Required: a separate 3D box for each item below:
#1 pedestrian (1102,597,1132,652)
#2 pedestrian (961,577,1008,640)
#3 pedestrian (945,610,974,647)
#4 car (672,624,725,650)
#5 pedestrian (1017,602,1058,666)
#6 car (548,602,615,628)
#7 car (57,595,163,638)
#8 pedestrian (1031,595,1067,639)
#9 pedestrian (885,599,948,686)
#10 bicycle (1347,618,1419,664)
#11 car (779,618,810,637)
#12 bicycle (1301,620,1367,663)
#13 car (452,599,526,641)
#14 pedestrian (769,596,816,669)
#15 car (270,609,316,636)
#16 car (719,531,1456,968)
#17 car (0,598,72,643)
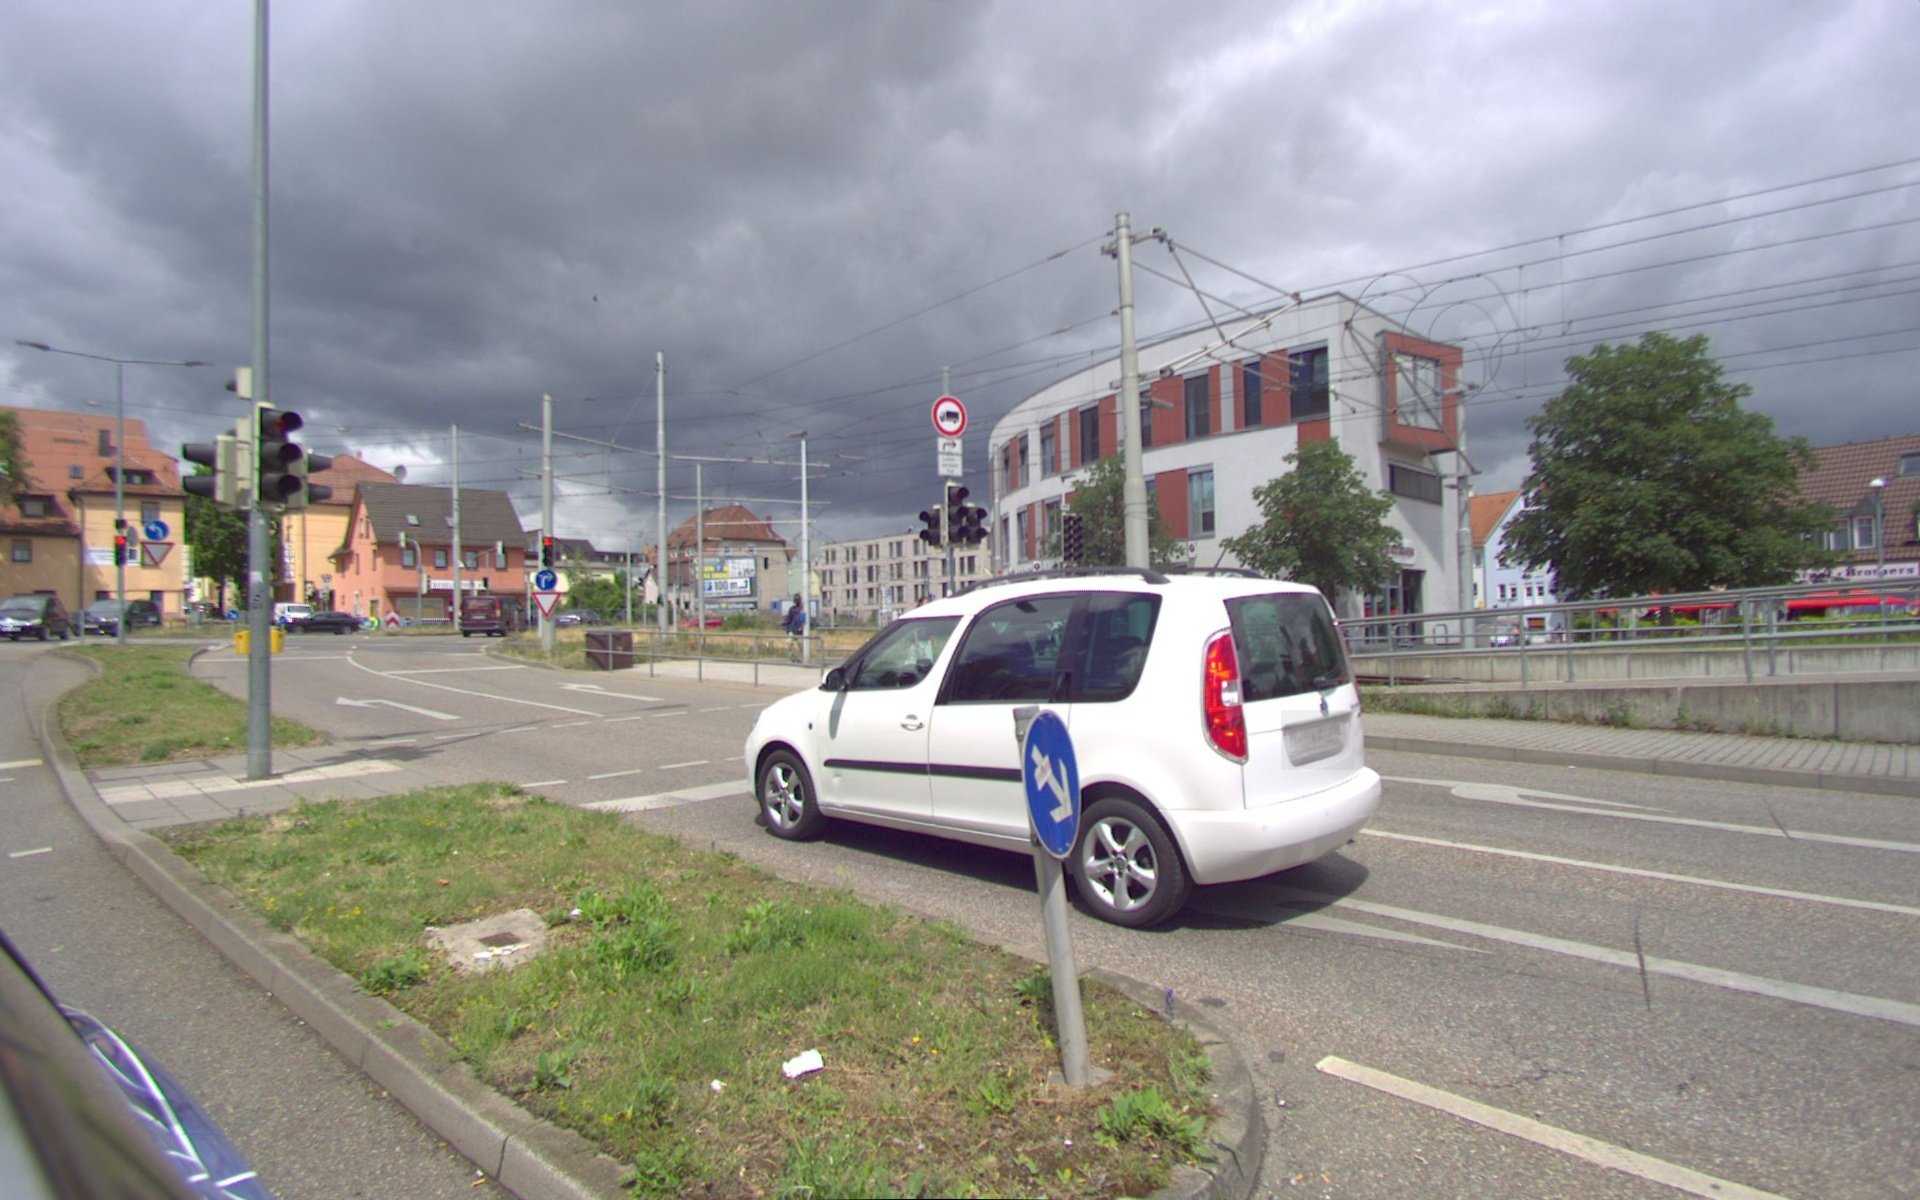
[{"bbox_3d":[5.043,0.790,32.491,0.830,1.748,0.665,0,-1,24],"label":"pedestrian"},{"bbox_3d":[0.659,0.239,27.310,0.851,1.649,0.922,2,-2,-42],"label":"pedestrian"},{"bbox_3d":[-0.030,1.587,55.978,1.235,2.029,1.143,1,-2,-22],"label":"pedestrian"},{"bbox_3d":[-21.757,3.057,84.390,1.994,2.029,3.955,-3,-3,32],"label":"car"},{"bbox_3d":[1.990,0.850,25.885,0.820,1.608,0.644,1,-1,-30],"label":"pedestrian"},{"bbox_3d":[-21.694,0.821,58.245,1.779,1.421,5.049,1,0,2],"label":"car"},{"bbox_3d":[-36.025,0.732,43.060,1.966,1.662,4.433,-1,-2,-19],"label":"car"},{"bbox_3d":[4.140,0.800,47.105,1.235,2.029,1.143,1,-2,-28],"label":"pedestrian"},{"bbox_3d":[-0.790,0.760,18.454,0.835,1.552,0.791,-1,-1,43],"label":"pedestrian"},{"bbox_3d":[10.679,1.035,25.531,1.873,1.106,0.696,1,-4,-32],"label":"bicycle"},{"bbox_3d":[-14.211,2.370,87.203,1.787,1.592,4.293,0,-1,3],"label":"car"},{"bbox_3d":[9.867,1.091,26.695,1.873,1.106,0.610,1,-2,-32],"label":"bicycle"},{"bbox_3d":[-21.652,0.871,46.755,1.967,1.836,5.084,0,0,-11],"label":"car"},{"bbox_3d":[-3.791,0.722,22.962,0.668,1.616,0.826,-1,-1,31],"label":"pedestrian"},{"bbox_3d":[-50.870,1.722,77.152,2.051,1.912,4.665,0,-1,-45],"label":"car"},{"bbox_3d":[0.431,0.611,5.904,1.680,1.661,4.080,0,-1,-45],"label":"car"},{"bbox_3d":[-32.982,0.747,35.762,1.852,1.439,4.010,0,-3,-34],"label":"car"}]
